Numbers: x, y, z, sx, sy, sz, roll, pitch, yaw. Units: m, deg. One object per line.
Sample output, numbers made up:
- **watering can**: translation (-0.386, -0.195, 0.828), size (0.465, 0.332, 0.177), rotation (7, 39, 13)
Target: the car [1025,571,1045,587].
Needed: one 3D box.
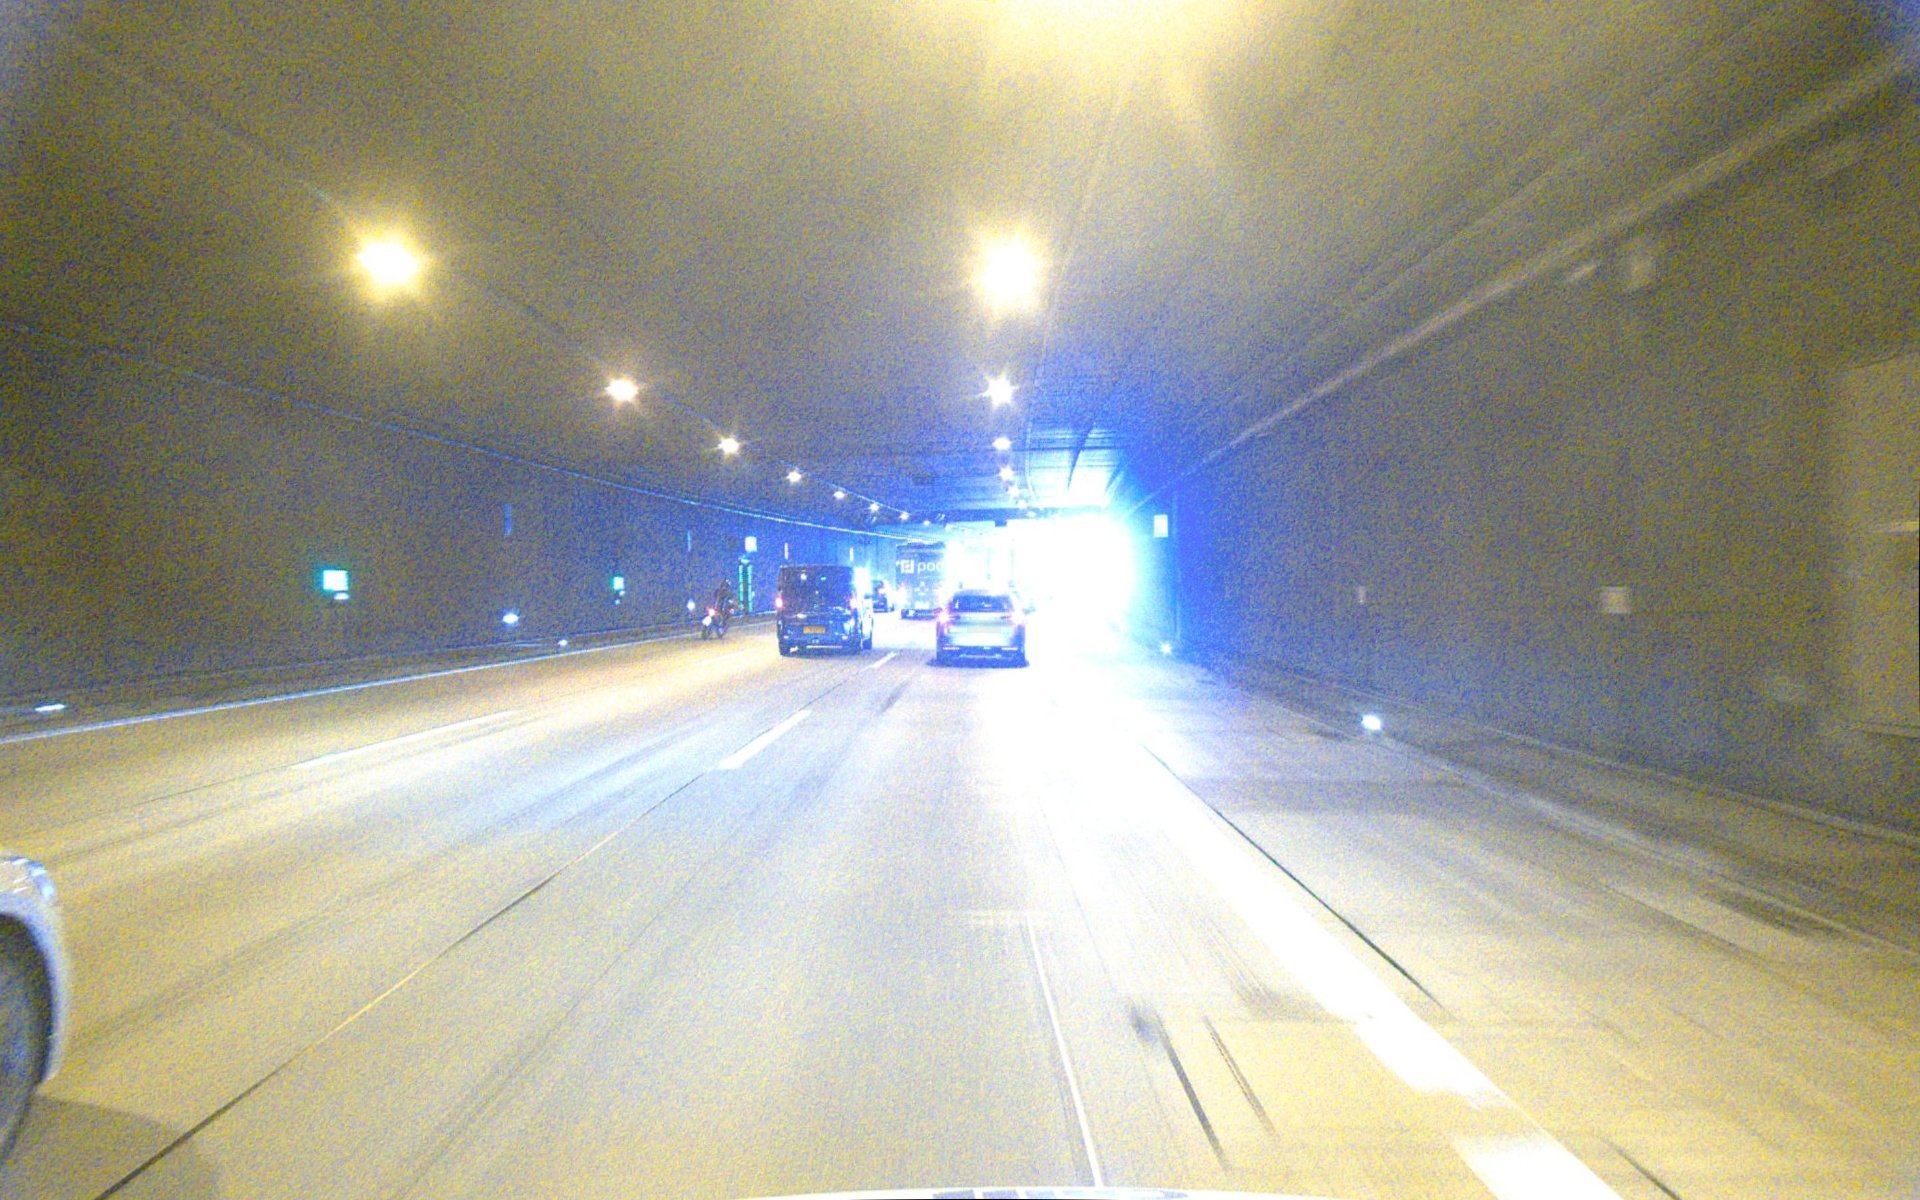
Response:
- **car**: translation (7.907, -2.226, 174.593), size (1.889, 1.671, 4.003), rotation (0, 0, 6)

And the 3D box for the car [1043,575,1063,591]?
- **car**: translation (10.934, -1.988, 194.187), size (1.889, 1.671, 4.003), rotation (0, -2, 9)

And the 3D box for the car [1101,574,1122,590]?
- **car**: translation (15.330, -1.802, 167.358), size (1.889, 1.671, 4.003), rotation (0, 0, 9)

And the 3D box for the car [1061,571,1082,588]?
- **car**: translation (11.725, -2.141, 173.619), size (1.951, 1.660, 4.002), rotation (0, -2, 7)

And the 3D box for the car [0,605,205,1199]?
- **car**: translation (-3.095, 0.741, 2.579), size (1.668, 1.444, 5.058), rotation (0, 0, -2)

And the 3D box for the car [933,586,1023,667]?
- **car**: translation (0.390, 0.487, 33.265), size (1.706, 1.489, 3.872), rotation (0, 1, 1)

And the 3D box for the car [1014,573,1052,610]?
- **car**: translation (3.827, -0.415, 86.077), size (1.909, 1.803, 4.001), rotation (0, -2, 3)

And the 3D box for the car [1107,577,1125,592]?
- **car**: translation (17.532, -1.780, 186.194), size (1.889, 1.671, 4.003), rotation (0, 0, 7)

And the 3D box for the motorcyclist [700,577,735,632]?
- **motorcyclist**: translation (-6.689, 0.138, 45.624), size (0.761, 1.478, 1.069), rotation (0, -2, 2)

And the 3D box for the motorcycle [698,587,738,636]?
- **motorcycle**: translation (-6.678, 0.335, 45.678), size (0.668, 1.320, 2.399), rotation (0, -1, 2)

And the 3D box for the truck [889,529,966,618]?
- **truck**: translation (-1.358, -1.151, 73.209), size (2.976, 3.737, 7.395), rotation (0, 0, 2)

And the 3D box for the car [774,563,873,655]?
- **car**: translation (-3.056, 0.172, 37.739), size (1.870, 1.978, 3.872), rotation (0, 1, 1)

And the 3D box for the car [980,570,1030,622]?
- **car**: translation (1.731, -0.155, 62.346), size (1.818, 1.887, 4.001), rotation (0, 0, 2)

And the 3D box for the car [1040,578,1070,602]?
- **car**: translation (7.247, -0.725, 126.522), size (1.891, 1.671, 3.998), rotation (1, -2, -2)

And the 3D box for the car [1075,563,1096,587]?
- **car**: translation (11.701, -2.354, 154.305), size (1.951, 2.049, 4.001), rotation (0, -2, 4)
